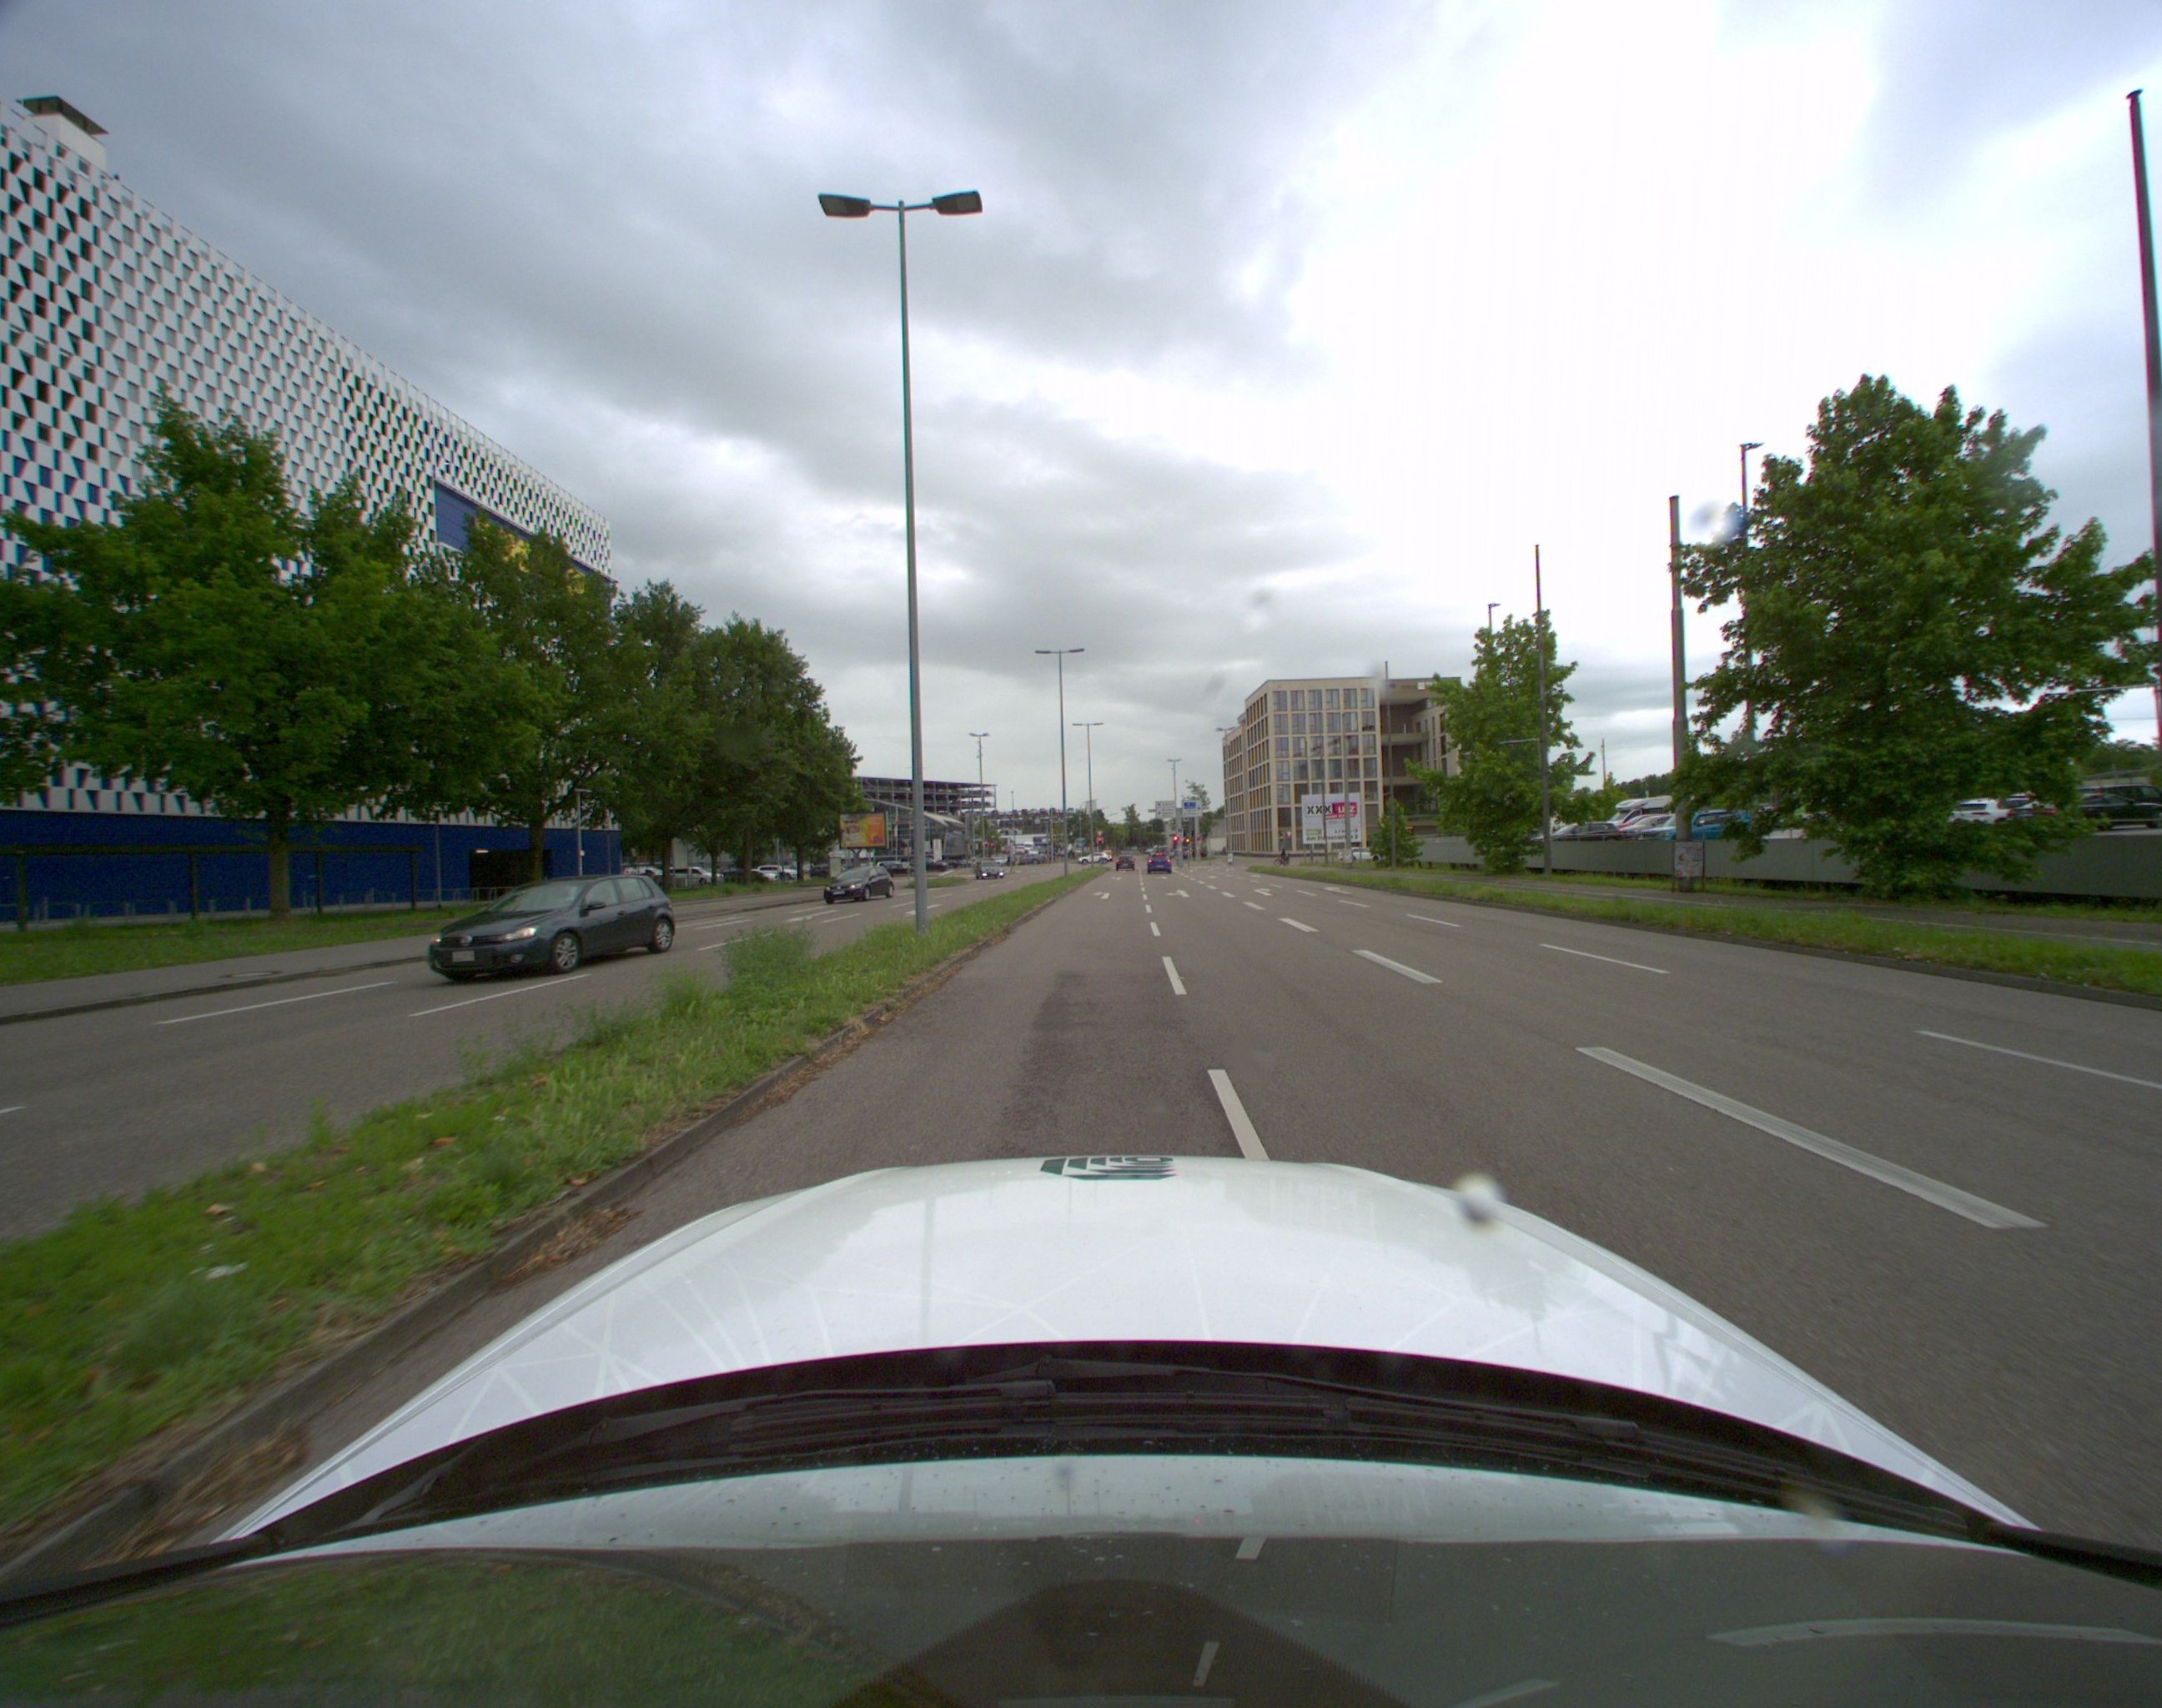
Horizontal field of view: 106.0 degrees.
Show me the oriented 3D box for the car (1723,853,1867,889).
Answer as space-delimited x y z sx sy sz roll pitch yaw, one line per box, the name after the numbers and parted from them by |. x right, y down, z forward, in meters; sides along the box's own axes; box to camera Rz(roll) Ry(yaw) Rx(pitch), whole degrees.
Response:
24.333 0.570 27.841 3.500 1.131 1.607 -1 0 2 | car

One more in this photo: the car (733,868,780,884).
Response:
-35.464 2.393 89.070 4.215 1.512 1.993 -2 1 -1 | car

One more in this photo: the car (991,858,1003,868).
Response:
-11.825 1.271 114.583 1.372 1.326 3.022 -2 2 -11 | car

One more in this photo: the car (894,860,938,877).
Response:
-18.117 1.575 89.425 4.407 1.660 1.997 -1 0 -4 | car

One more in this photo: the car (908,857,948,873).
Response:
-18.026 1.333 95.970 4.398 1.643 1.996 -2 2 -7 | car

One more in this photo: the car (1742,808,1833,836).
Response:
42.644 -1.937 49.234 3.824 1.507 1.787 -2 1 5 | car

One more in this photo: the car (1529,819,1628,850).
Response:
24.585 -0.955 40.364 3.859 1.384 1.721 -2 1 0 | car

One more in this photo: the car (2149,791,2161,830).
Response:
38.963 -1.540 27.420 3.616 1.356 1.703 -2 2 4 | car

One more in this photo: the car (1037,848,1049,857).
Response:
-7.620 -0.301 163.652 1.766 1.705 3.926 -2 2 8 | car

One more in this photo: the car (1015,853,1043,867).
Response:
-7.606 0.850 119.638 3.976 1.790 1.846 -2 2 -2 | car

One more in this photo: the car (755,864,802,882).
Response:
-34.211 2.131 92.207 4.422 1.711 1.999 -2 3 -3 | car

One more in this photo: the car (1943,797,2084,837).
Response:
39.764 -1.569 34.814 3.825 1.507 1.786 -2 1 4 | car

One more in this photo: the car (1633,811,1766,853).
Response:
24.970 -0.897 32.969 4.057 1.524 1.811 -2 1 -2 | car

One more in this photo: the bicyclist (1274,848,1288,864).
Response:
18.639 0.185 75.841 0.705 1.504 0.990 -2 0 -33 | bicyclist

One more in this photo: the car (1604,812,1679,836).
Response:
36.173 -1.921 52.639 3.675 1.420 1.624 -2 1 5 | car

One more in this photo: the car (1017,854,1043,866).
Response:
-7.661 0.850 121.883 3.812 1.589 1.681 -2 2 -2 | car

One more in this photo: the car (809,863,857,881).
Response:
-27.049 1.990 88.904 4.534 1.659 1.997 -3 0 -4 | car

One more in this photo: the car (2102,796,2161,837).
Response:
42.707 -1.490 31.670 3.613 1.555 1.704 -2 2 6 | car

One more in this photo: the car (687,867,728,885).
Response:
-42.298 2.472 92.319 3.749 1.746 1.880 -2 2 -1 | car

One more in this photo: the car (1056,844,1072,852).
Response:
-3.546 -1.283 173.780 3.285 1.640 1.480 -2 2 0 | car

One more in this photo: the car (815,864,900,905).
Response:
-9.405 1.252 34.575 1.920 1.455 4.191 -3 0 7 | car

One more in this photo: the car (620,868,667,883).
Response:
-49.406 2.441 91.985 4.215 1.504 1.993 -2 1 -1 | car

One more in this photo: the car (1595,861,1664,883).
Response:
36.882 1.217 54.825 3.604 1.285 1.460 -2 2 4 | car

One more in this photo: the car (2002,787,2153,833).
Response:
38.952 -1.687 31.917 3.613 1.632 1.704 -2 2 6 | car

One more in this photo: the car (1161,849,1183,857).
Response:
16.714 -0.172 149.792 3.571 1.478 1.770 -1 2 23 | car

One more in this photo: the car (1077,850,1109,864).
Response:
1.560 0.366 105.462 3.940 1.567 1.755 -2 2 -8 | car

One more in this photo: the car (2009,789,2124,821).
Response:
50.641 -2.487 41.903 3.613 1.495 1.704 -2 2 6 | car

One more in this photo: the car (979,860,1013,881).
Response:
-6.727 1.264 64.948 1.783 1.479 4.538 -4 0 5 | car

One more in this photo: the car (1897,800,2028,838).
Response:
39.800 -1.580 36.840 3.824 1.507 1.787 -2 1 5 | car

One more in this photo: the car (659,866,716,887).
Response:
-42.814 2.448 88.709 5.117 1.963 1.880 -2 3 -2 | car

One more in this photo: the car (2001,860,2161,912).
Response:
29.507 0.903 23.393 4.037 1.350 1.765 -1 0 3 | car

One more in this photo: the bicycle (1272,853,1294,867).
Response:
18.776 0.567 75.657 0.705 1.295 1.990 -2 0 -33 | bicycle

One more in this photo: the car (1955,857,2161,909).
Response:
23.933 0.690 19.908 3.500 1.131 1.455 -1 0 2 | car

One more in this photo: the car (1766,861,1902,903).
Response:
34.966 1.276 37.897 4.348 1.832 2.002 -1 0 3 | car

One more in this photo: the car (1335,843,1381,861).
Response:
29.010 -0.224 85.308 4.162 1.752 1.995 -2 0 -7 | car

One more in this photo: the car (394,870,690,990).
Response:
-8.394 1.085 13.243 1.772 1.455 4.186 -4 0 3 | car

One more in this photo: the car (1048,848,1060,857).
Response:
-5.439 -0.370 163.600 1.766 1.705 3.926 -2 2 8 | car

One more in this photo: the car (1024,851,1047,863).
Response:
-7.316 0.493 130.302 3.596 1.667 1.548 -2 2 -2 | car

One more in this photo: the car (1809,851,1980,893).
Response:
23.984 0.528 24.101 3.500 1.131 1.516 -1 0 2 | car

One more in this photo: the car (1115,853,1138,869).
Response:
4.149 0.651 74.930 1.980 1.428 4.242 -2 -1 1 | car

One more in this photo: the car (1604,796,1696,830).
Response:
40.399 -2.912 57.930 4.986 2.210 2.169 -2 2 6 | car

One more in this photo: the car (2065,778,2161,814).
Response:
50.321 -2.794 39.264 3.613 1.555 1.604 -2 2 6 | car

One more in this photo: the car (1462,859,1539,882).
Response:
25.036 0.975 48.665 3.679 1.176 1.721 -2 1 2 | car

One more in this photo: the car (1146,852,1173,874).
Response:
5.951 0.673 62.271 1.827 1.514 4.003 -2 1 3 | car

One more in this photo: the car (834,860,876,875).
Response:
-25.700 1.523 92.672 4.240 1.509 1.998 -2 2 -4 | car

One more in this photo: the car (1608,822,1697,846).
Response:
34.718 -1.241 49.539 4.082 1.315 1.758 -2 2 10 | car

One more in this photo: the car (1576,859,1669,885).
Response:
30.467 1.001 45.902 4.039 1.350 1.764 -1 0 1 | car
